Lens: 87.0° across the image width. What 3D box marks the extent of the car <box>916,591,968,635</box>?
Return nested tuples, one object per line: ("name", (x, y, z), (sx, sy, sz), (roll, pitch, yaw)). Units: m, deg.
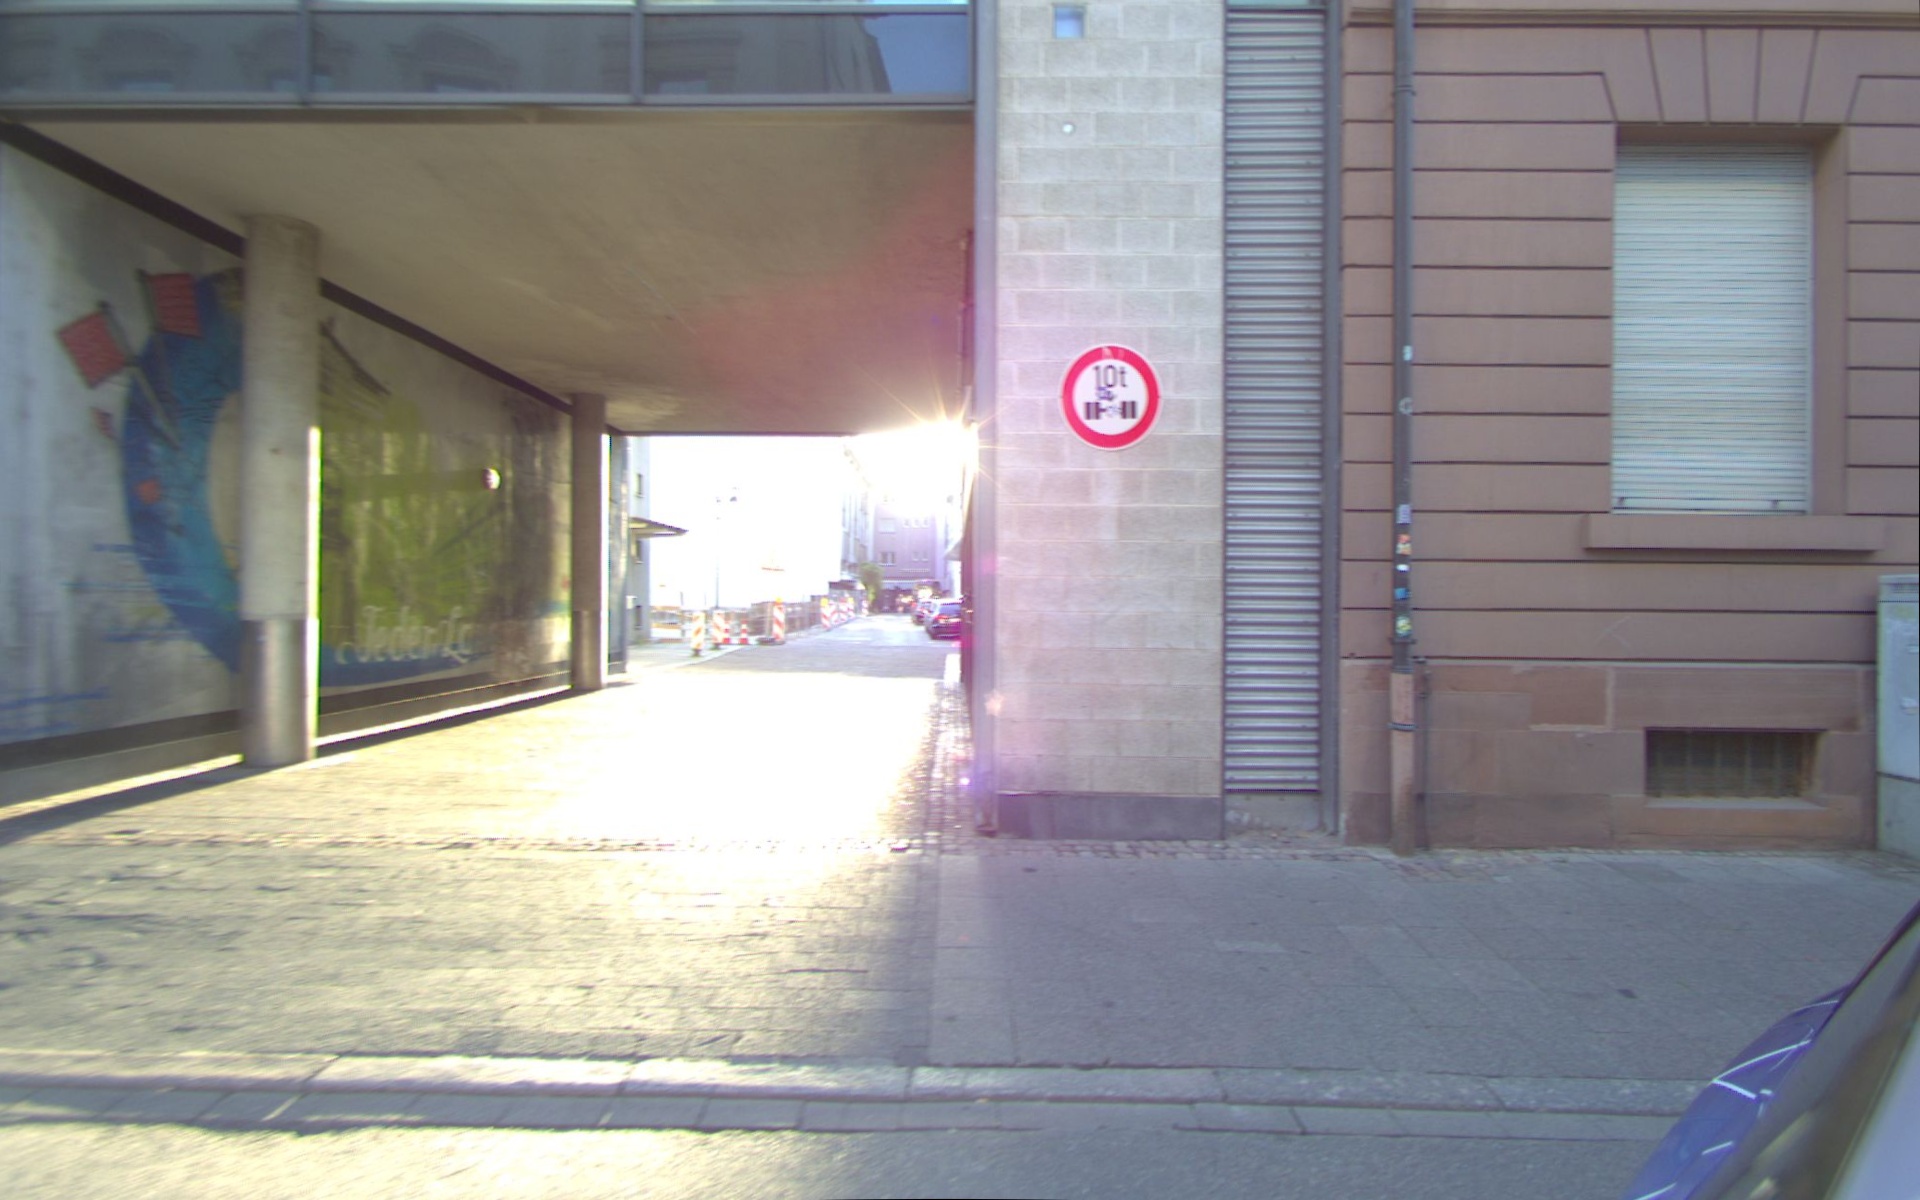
("car", (-0.714, 0.434, 37.763), (1.569, 1.512, 3.450), (0, 1, -7))
